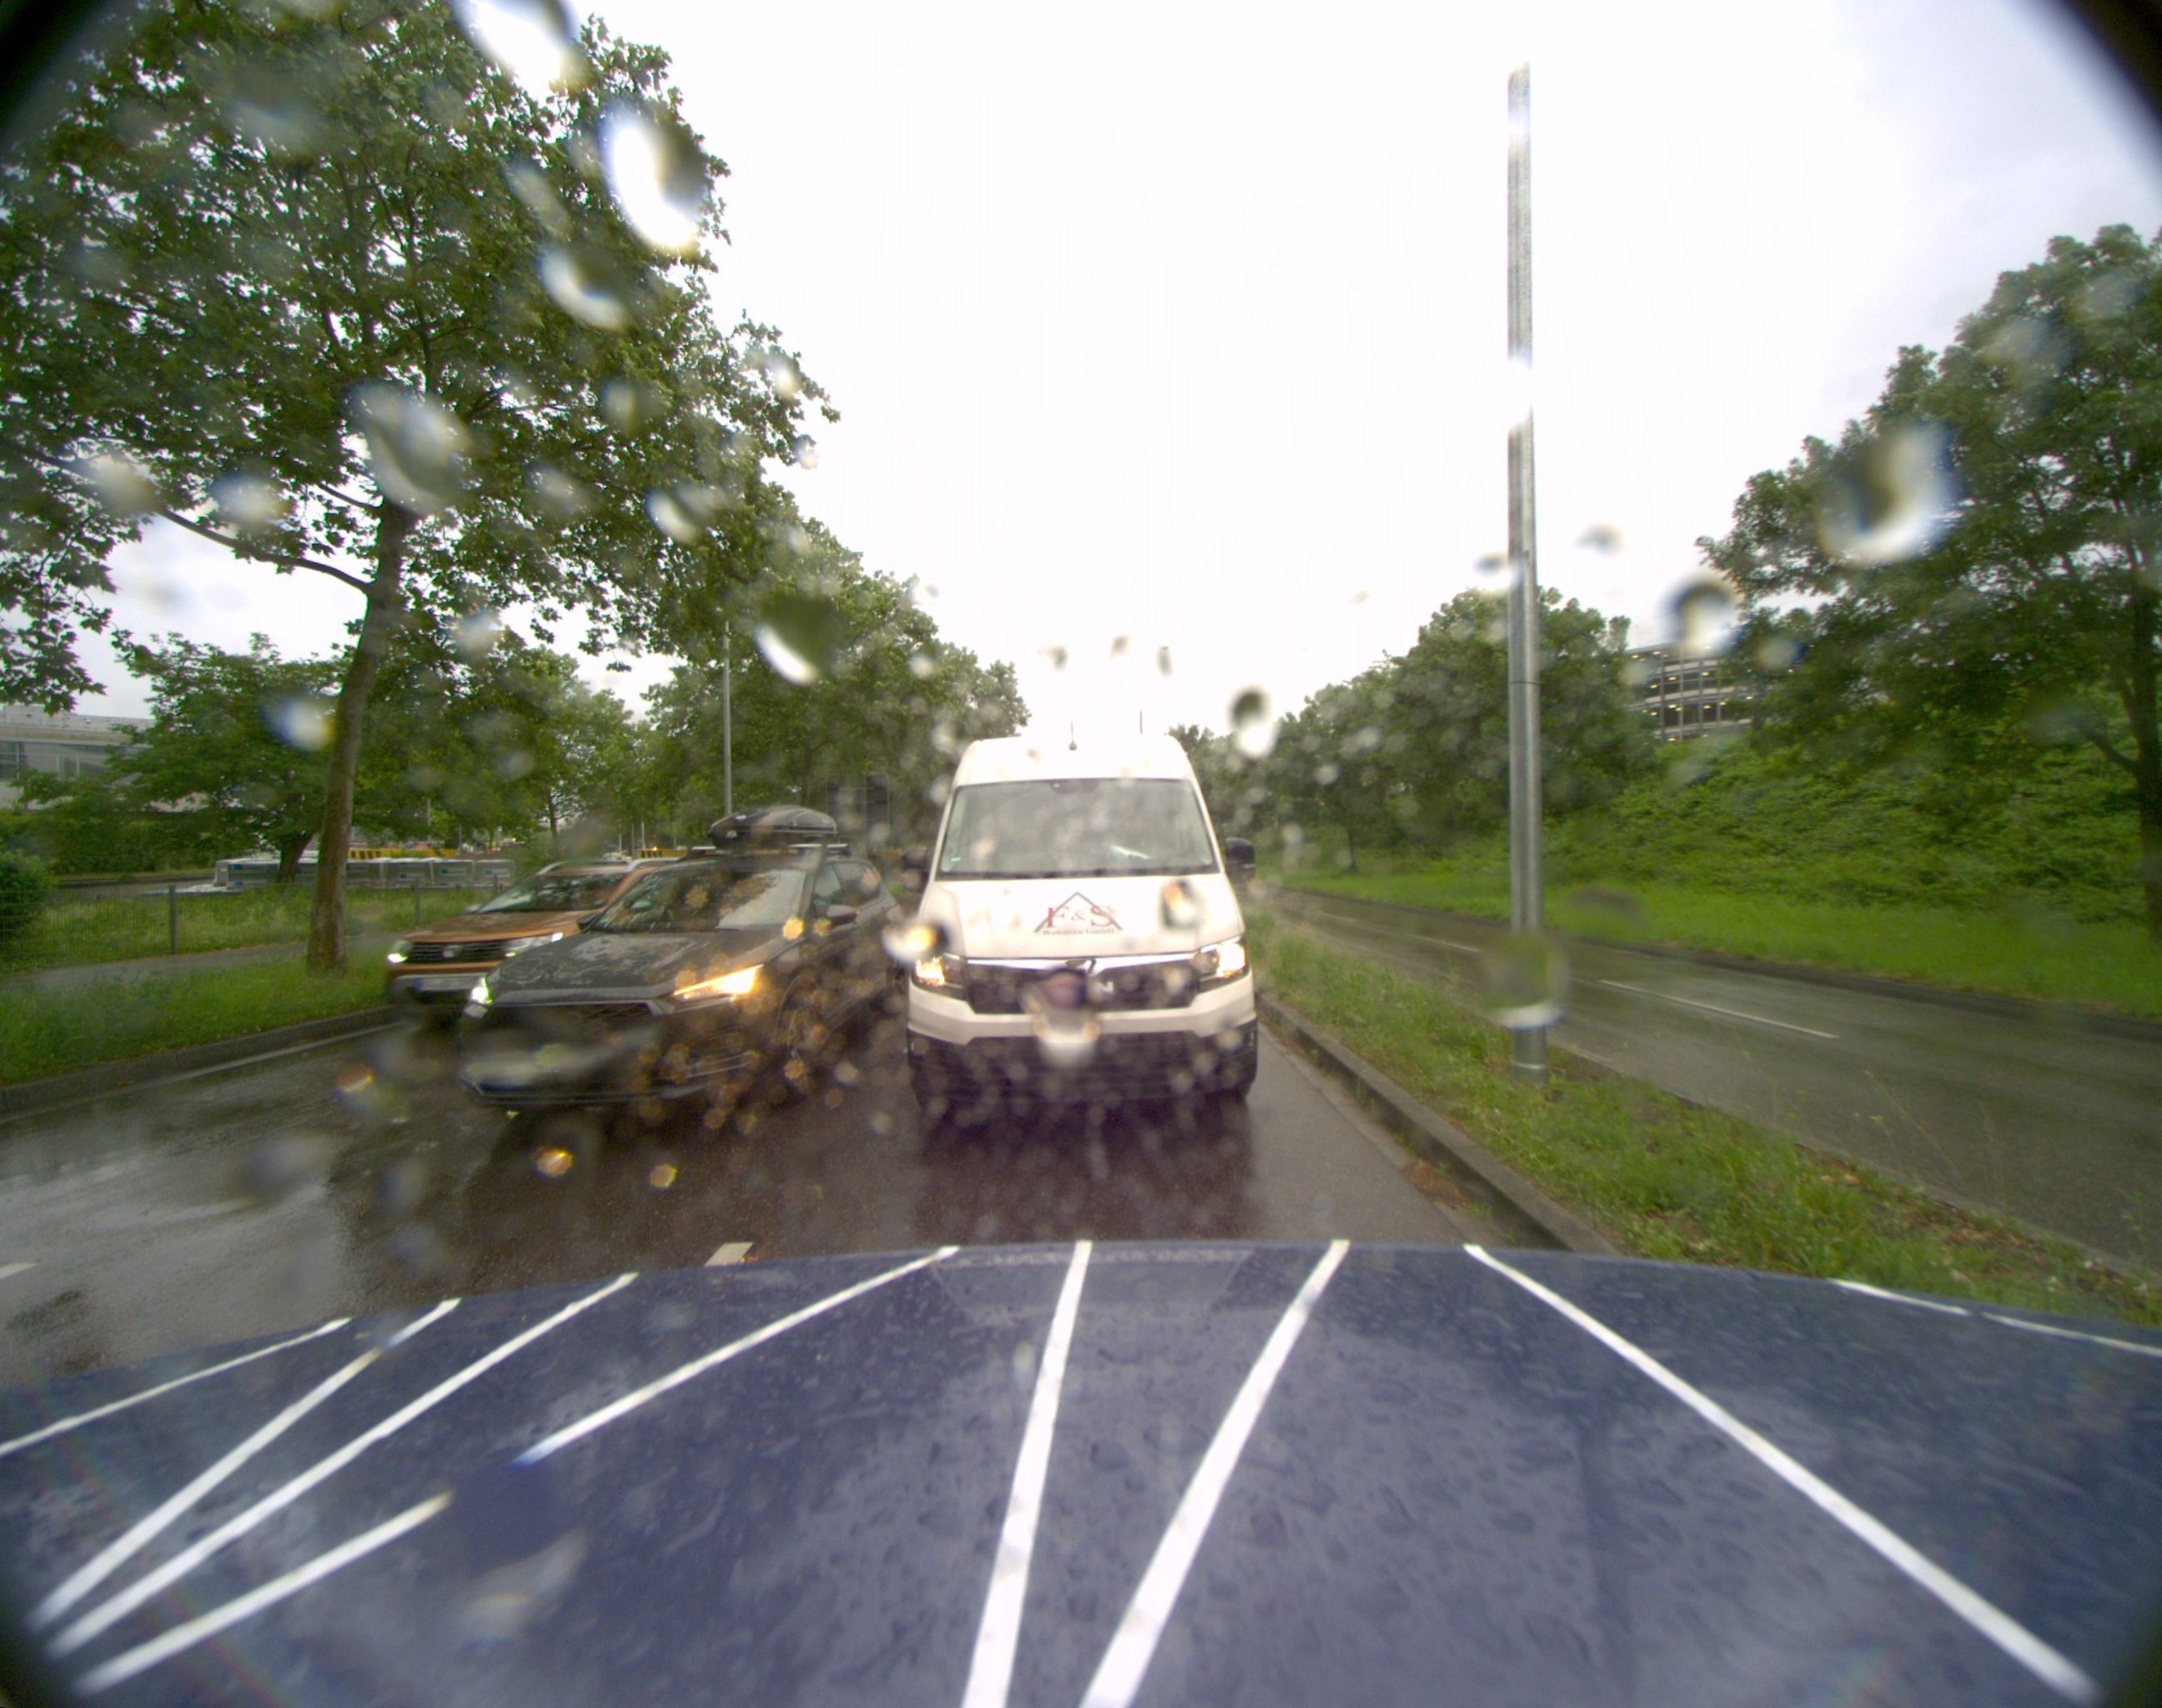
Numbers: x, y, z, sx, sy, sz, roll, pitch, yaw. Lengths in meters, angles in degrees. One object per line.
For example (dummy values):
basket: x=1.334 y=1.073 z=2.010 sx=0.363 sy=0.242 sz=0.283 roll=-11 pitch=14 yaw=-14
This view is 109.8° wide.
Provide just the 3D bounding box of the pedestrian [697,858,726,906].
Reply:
pedestrian: x=-13.560 y=1.014 z=27.879 sx=0.646 sy=1.707 sz=0.656 roll=-2 pitch=1 yaw=1

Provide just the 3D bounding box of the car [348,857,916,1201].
car: x=-2.762 y=0.904 z=6.084 sx=1.894 sy=1.688 sz=4.423 roll=-1 pitch=0 yaw=0

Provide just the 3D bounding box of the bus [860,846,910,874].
bus: x=-19.135 y=0.571 z=74.383 sx=4.370 sy=2.553 sz=1.711 roll=-2 pitch=1 yaw=0

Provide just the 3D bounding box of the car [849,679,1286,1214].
car: x=-0.107 y=0.429 z=6.449 sx=2.027 sy=2.498 sz=5.695 roll=-1 pitch=0 yaw=-1

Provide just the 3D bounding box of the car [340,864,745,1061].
car: x=-5.765 y=1.004 z=8.916 sx=1.679 sy=1.675 sz=4.148 roll=-3 pitch=0 yaw=1

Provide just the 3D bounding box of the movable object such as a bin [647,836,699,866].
movable object such as a bin: x=-48.118 y=-0.379 z=89.698 sx=1.913 sy=3.415 sz=4.947 roll=-1 pitch=1 yaw=41

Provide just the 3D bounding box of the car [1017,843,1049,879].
car: x=-3.319 y=0.467 z=53.530 sx=1.894 sy=2.432 sz=5.317 roll=-1 pitch=0 yaw=-1

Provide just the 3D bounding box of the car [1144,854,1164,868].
car: x=8.602 y=0.821 z=89.868 sx=1.891 sy=1.510 sz=4.301 roll=1 pitch=0 yaw=0

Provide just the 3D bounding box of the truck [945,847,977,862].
truck: x=-20.981 y=0.094 z=132.611 sx=5.061 sy=2.363 sz=1.792 roll=-3 pitch=1 yaw=-30

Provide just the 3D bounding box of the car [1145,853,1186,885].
car: x=4.448 y=0.766 z=40.663 sx=1.739 sy=1.511 sz=4.047 roll=2 pitch=1 yaw=0
